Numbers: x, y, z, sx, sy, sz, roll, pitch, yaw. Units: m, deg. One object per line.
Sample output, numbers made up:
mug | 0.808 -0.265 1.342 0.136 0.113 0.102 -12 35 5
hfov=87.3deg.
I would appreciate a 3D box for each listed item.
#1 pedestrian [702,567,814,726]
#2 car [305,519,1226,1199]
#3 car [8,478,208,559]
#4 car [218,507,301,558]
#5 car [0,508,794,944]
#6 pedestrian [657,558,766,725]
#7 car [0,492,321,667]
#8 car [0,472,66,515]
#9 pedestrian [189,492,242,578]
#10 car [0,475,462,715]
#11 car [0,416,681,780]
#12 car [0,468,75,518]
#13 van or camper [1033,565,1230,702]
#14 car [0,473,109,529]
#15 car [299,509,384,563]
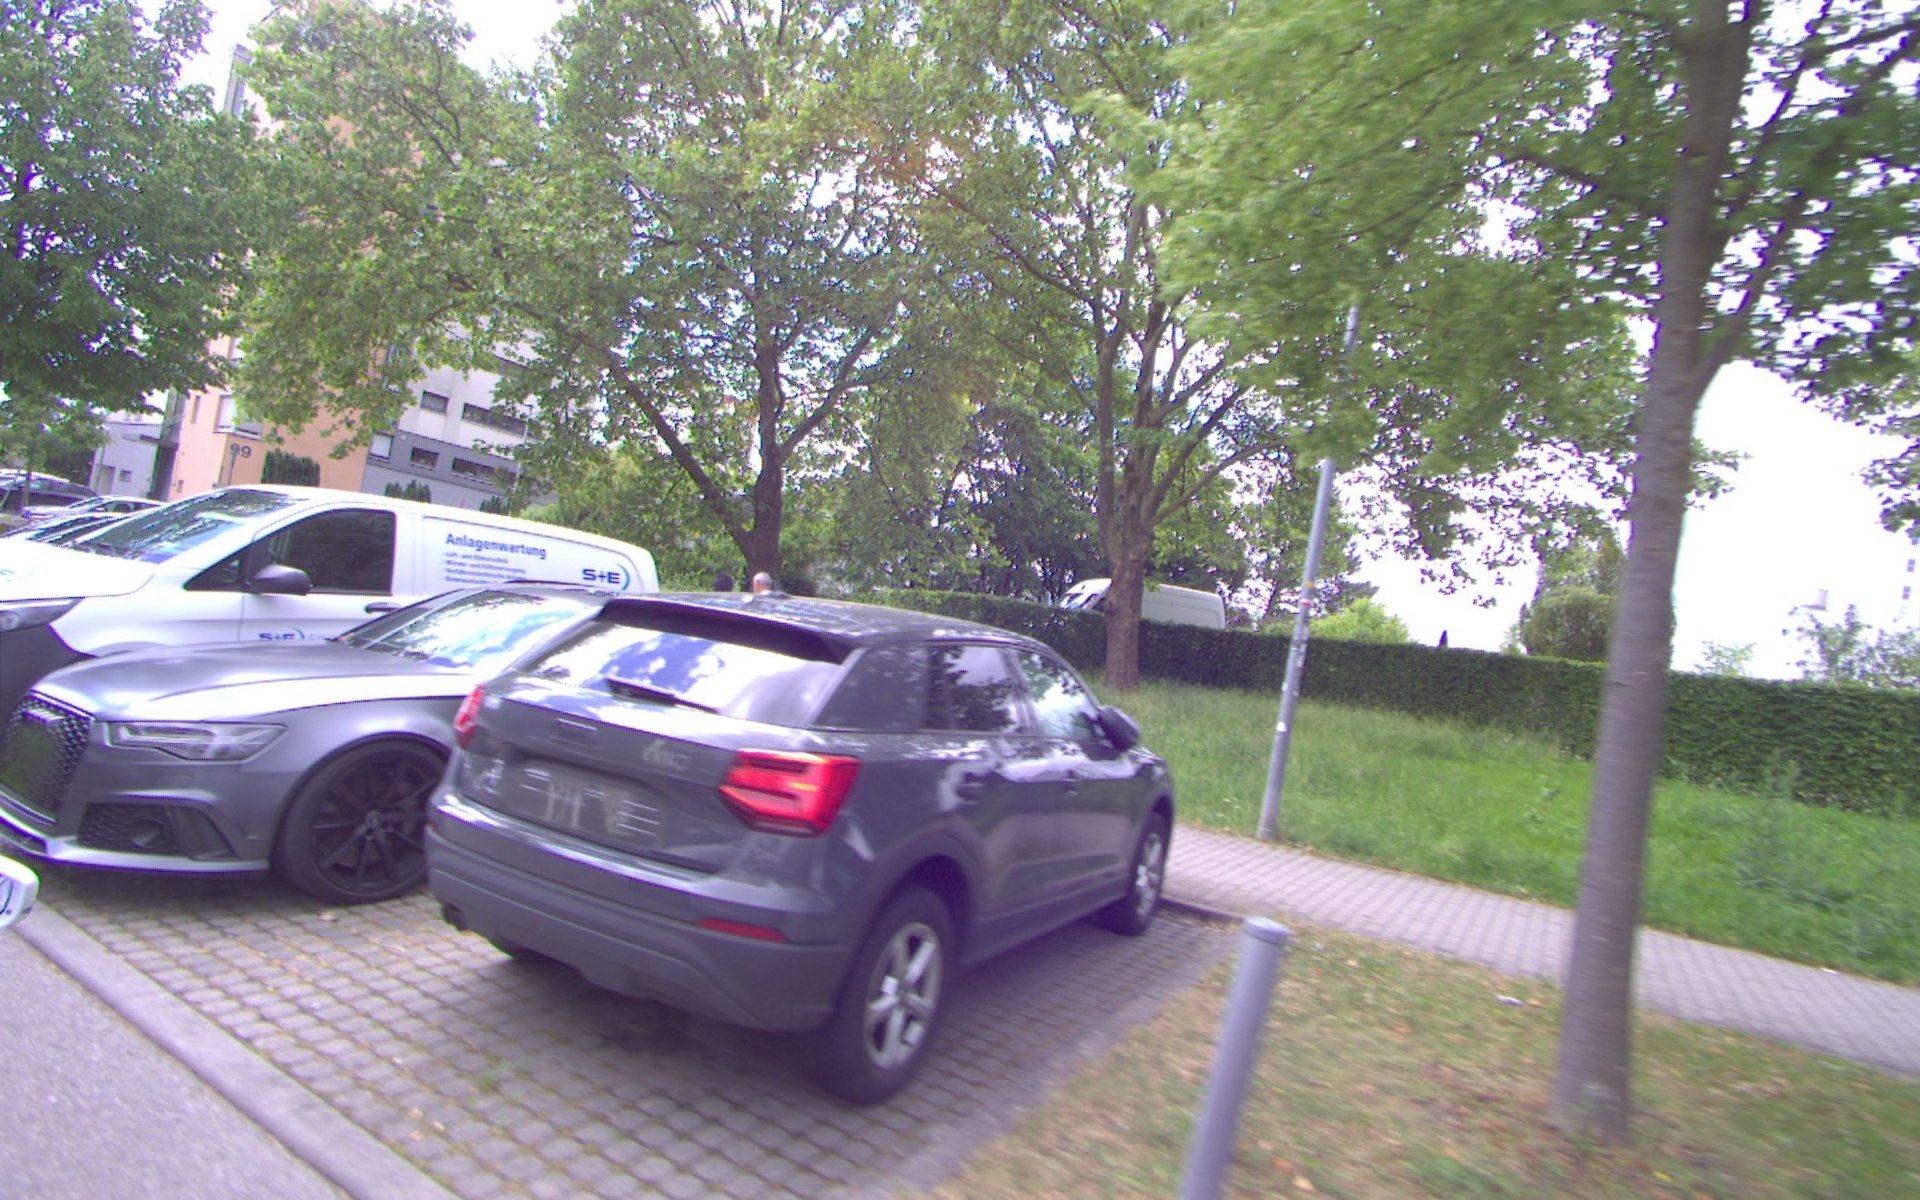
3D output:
pedestrian | -2.275 0.543 11.405 0.583 1.675 0.871 8 -2 31
car | -0.359 0.739 4.546 1.880 1.538 3.830 7 -1 31
car | -24.648 -2.313 29.242 1.694 1.637 4.002 7 -1 33
car | -25.935 -2.516 37.201 3.474 1.493 1.500 7 -1 39
car | -2.752 0.503 5.572 1.809 1.388 3.837 7 -1 21
pedestrian | -2.645 0.454 10.751 0.590 1.675 0.690 8 -1 31
car | -8.949 -0.210 10.362 1.707 1.478 3.524 7 -2 24
car | -43.691 -5.045 45.970 1.734 1.534 3.977 7 -3 43
pedestrian | -15.660 -1.368 21.162 0.829 1.685 0.611 7 1 43
car | -6.868 0.001 8.731 1.710 1.620 4.162 8 -3 31
car | -4.575 0.077 7.382 1.812 1.853 4.781 7 -1 31
car | -40.402 -4.699 42.547 1.667 1.611 4.122 7 -3 38
van or camper | 4.505 0.881 26.404 4.431 2.829 2.101 10 -2 -27
car | -36.481 -3.996 39.752 1.732 1.534 4.039 7 -3 42
car | -24.086 -2.512 39.116 3.721 1.679 1.567 7 0 39
